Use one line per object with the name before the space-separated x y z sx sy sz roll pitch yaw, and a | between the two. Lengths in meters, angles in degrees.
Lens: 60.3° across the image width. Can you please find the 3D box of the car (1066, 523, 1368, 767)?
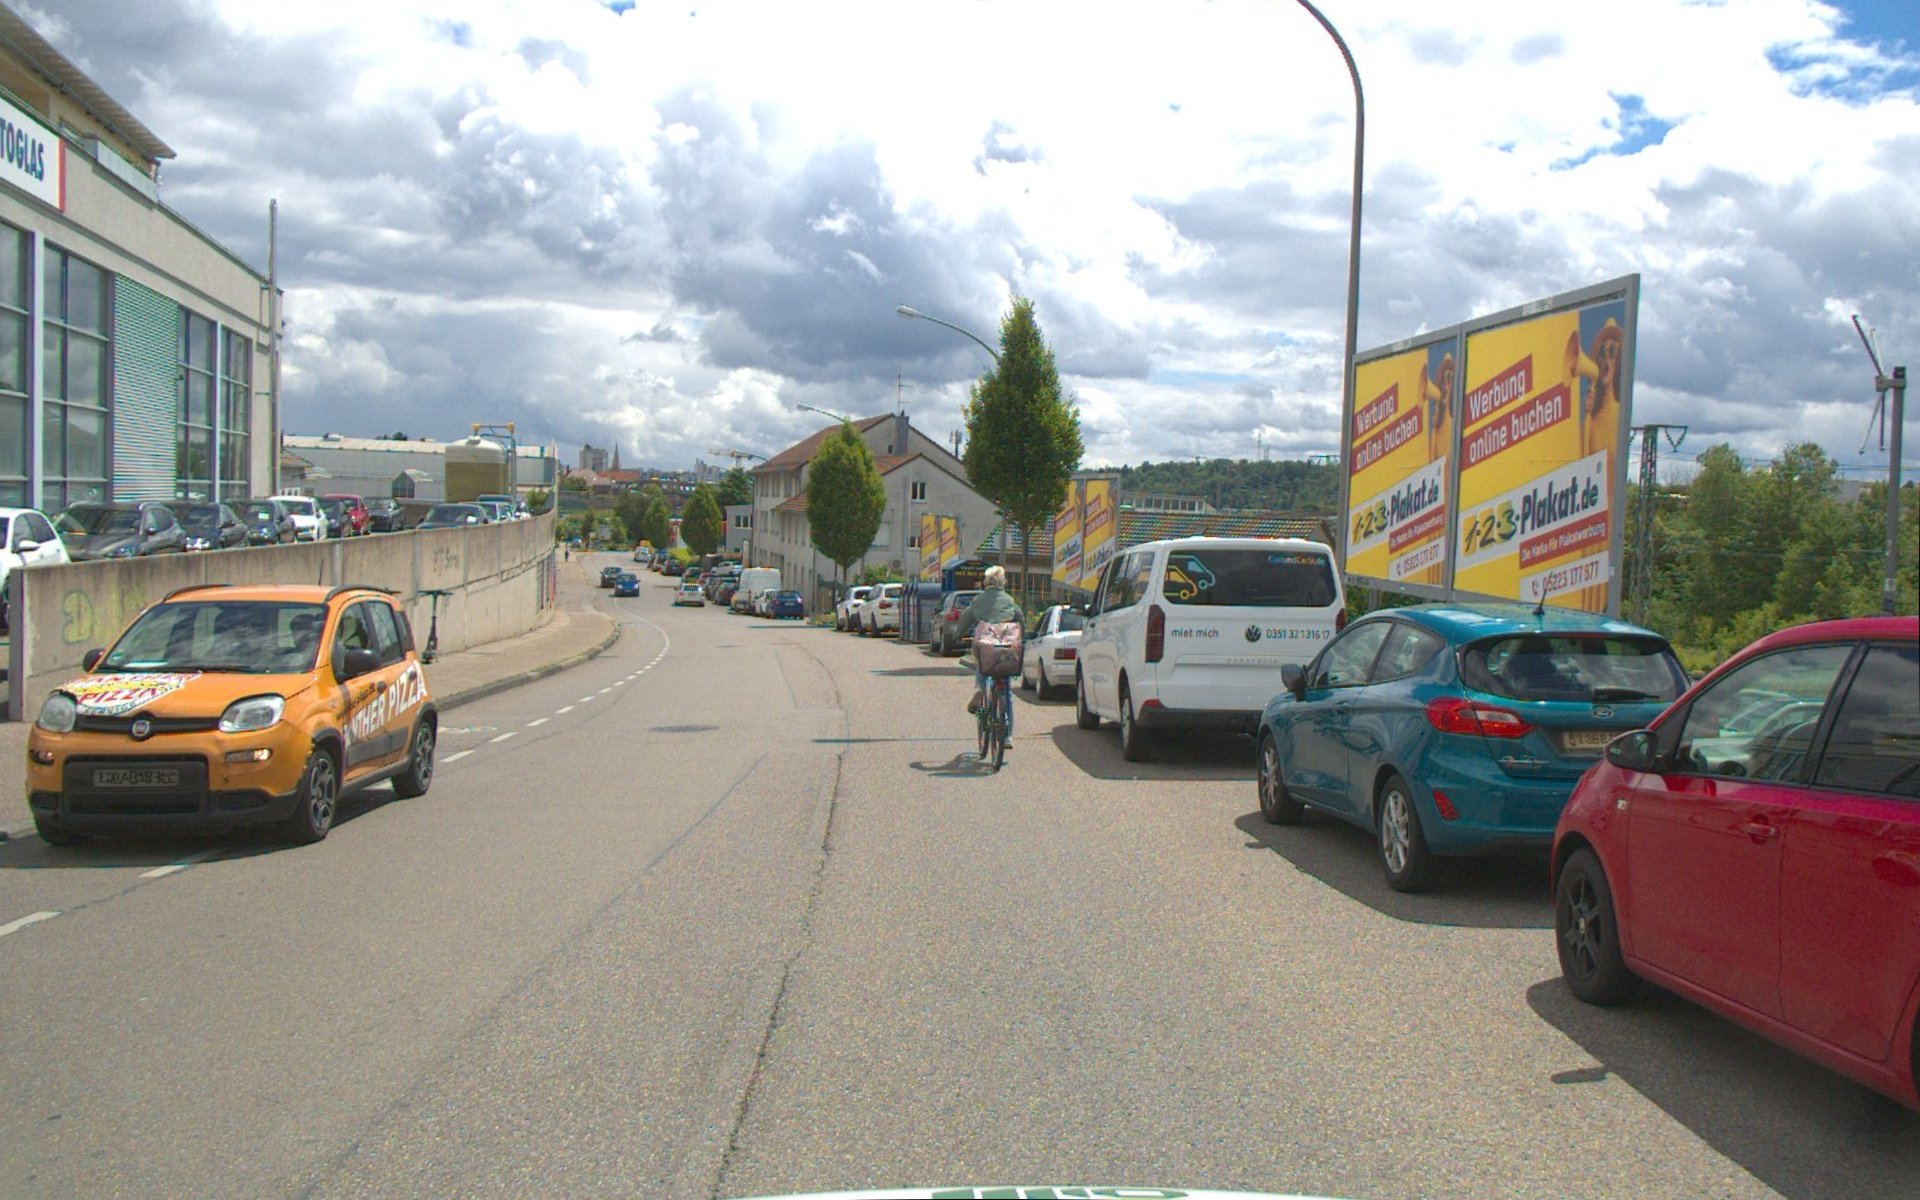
car | 2.368 0.377 16.818 1.935 2.039 5.544 1 0 -3

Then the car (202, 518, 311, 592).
car | -17.138 -1.041 40.459 1.775 1.665 4.098 1 0 -14

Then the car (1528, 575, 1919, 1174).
car | 3.181 0.704 5.071 1.561 1.507 3.499 1 0 -2

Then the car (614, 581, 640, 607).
car | -24.050 -0.415 119.314 1.600 1.849 3.764 0 0 -16

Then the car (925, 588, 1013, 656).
car | 0.168 0.486 39.132 1.623 1.511 4.039 -1 0 -6

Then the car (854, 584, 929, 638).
car | -2.266 0.334 53.759 1.656 1.688 4.465 0 0 -13

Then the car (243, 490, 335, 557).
car | -18.747 -2.099 46.361 1.775 1.665 4.098 1 0 -14

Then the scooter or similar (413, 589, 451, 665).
scooter or similar | -9.447 0.475 29.612 0.510 1.298 1.378 3 -1 -15

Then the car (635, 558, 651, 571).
car | -43.661 -4.869 227.708 1.675 1.554 3.720 4 1 -18

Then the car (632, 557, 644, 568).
car | -46.389 -5.396 238.187 1.671 1.554 3.727 1 1 -12

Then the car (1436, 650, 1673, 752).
car | 10.820 1.812 30.367 3.902 1.664 1.718 1 0 13

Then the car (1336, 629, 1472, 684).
car | 13.889 1.746 51.871 3.902 1.586 1.824 1 0 7

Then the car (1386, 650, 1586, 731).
car | 11.197 1.891 35.182 3.906 1.513 1.813 1 0 22

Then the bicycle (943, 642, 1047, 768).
bicycle | 0.286 0.898 14.684 0.726 0.992 1.730 1 0 -5

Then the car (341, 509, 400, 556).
car | -23.707 -2.686 66.646 1.775 1.665 4.098 1 0 -14

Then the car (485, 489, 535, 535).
car | -18.732 -3.656 68.991 1.774 1.665 4.091 1 0 -12

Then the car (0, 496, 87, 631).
car | -13.094 -0.471 21.831 1.775 1.665 4.098 1 0 -14

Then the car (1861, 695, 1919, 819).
car | 11.248 1.751 17.303 1.540 1.282 3.710 1 0 -2

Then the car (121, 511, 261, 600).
car | -15.610 -0.850 33.769 1.775 1.665 4.098 1 0 -14

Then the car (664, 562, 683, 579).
car | -29.530 -3.046 170.438 1.650 1.666 4.110 1 1 -12

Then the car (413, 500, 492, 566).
car | -14.301 -1.854 46.764 1.774 1.665 4.091 1 0 -12

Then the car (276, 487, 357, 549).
car | -19.869 -2.509 51.204 1.775 1.665 4.098 1 0 -14

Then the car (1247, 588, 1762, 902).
car | 2.949 0.688 9.869 1.561 1.476 3.977 1 0 -3

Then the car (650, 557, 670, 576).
car | -33.596 -3.721 184.895 1.837 2.025 5.125 1 1 -14

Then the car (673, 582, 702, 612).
car | -17.473 -0.198 105.954 1.540 1.817 3.592 1 0 -14

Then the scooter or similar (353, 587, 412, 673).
scooter or similar | -9.010 0.464 25.851 0.546 1.298 1.304 1 0 -5

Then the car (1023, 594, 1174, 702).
car | 1.937 0.636 24.228 1.605 1.411 4.202 1 0 -3

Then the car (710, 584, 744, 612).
car | -15.767 -0.161 111.754 1.676 1.536 5.069 3 2 -15

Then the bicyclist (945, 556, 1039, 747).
bicyclist | 0.279 0.449 14.731 0.725 1.655 0.730 1 0 -6

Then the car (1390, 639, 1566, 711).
car | 12.452 1.765 39.781 3.906 1.567 1.787 1 0 22

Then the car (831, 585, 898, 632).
car | -3.483 0.289 59.564 1.809 1.592 4.453 -1 0 -12

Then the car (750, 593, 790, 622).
car | -10.371 0.393 90.145 1.566 1.536 3.775 1 0 -15

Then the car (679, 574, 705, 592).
car | -23.462 -1.522 144.649 1.761 1.491 4.690 1 1 -15

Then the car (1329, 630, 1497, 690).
car | 12.907 1.691 47.354 4.352 1.582 2.001 1 0 5

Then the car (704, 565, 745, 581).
car | -23.571 -2.682 165.514 3.996 1.488 1.718 0 3 38

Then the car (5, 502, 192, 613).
car | -14.176 -0.657 27.461 1.775 1.665 4.098 1 0 -14

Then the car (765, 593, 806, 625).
car | -9.016 0.452 85.182 1.540 1.536 4.079 1 0 -14

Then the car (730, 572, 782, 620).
car | -11.891 -0.230 95.955 1.999 2.687 7.253 1 0 -15

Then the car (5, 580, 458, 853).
car | -4.623 0.653 11.087 1.569 1.516 3.679 0 0 -3

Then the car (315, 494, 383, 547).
car | -21.948 -2.819 59.519 1.775 1.665 4.098 1 0 -14
